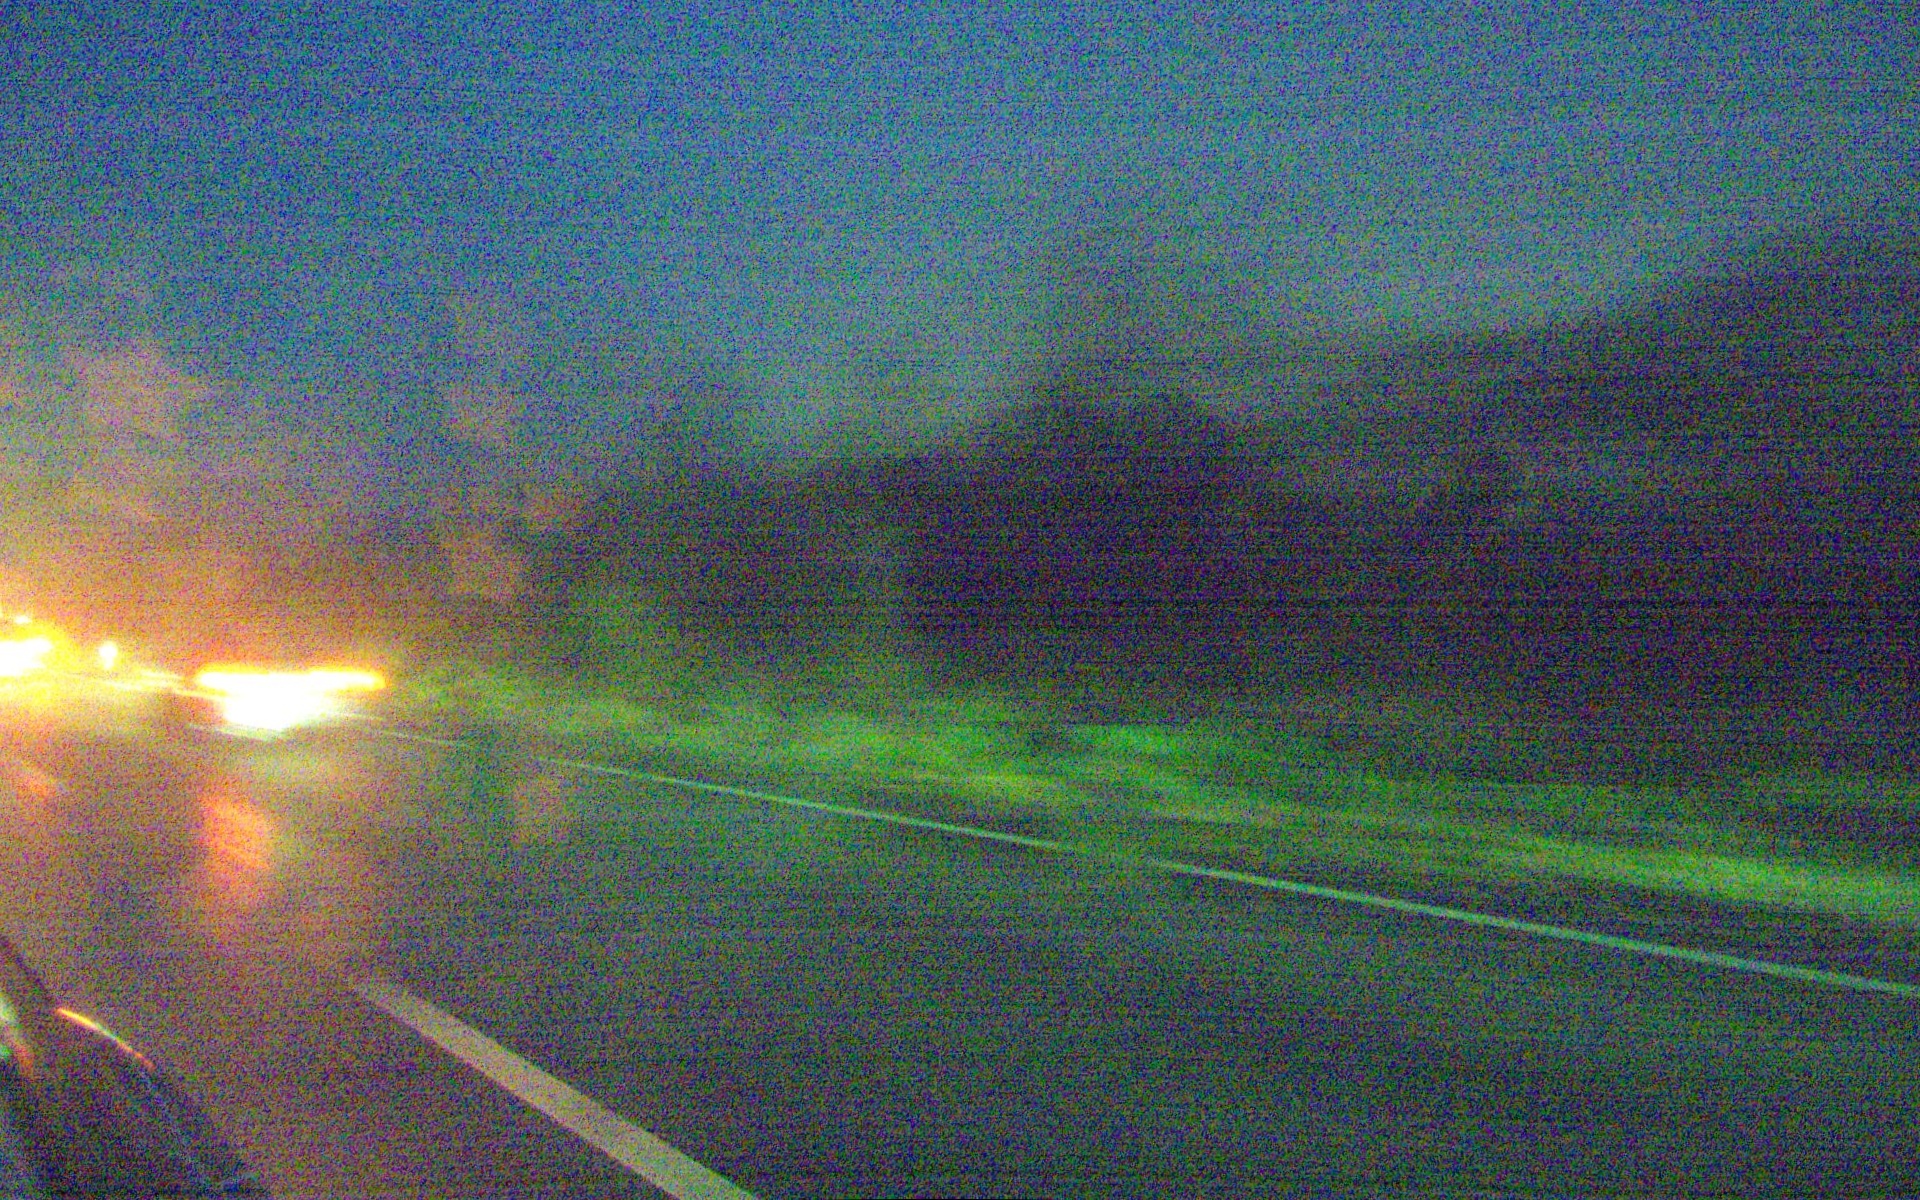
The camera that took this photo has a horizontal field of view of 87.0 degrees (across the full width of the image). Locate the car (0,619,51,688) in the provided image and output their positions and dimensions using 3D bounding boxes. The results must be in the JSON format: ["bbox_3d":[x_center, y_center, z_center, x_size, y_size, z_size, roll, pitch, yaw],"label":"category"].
[{"bbox_3d":[-25.220,1.339,26.248,3.998,1.674,1.973,0,-1,41],"label":"car"}]

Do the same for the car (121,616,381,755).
[{"bbox_3d":[-9.068,0.948,12.832,3.998,1.452,1.800,0,-1,41],"label":"car"}]
